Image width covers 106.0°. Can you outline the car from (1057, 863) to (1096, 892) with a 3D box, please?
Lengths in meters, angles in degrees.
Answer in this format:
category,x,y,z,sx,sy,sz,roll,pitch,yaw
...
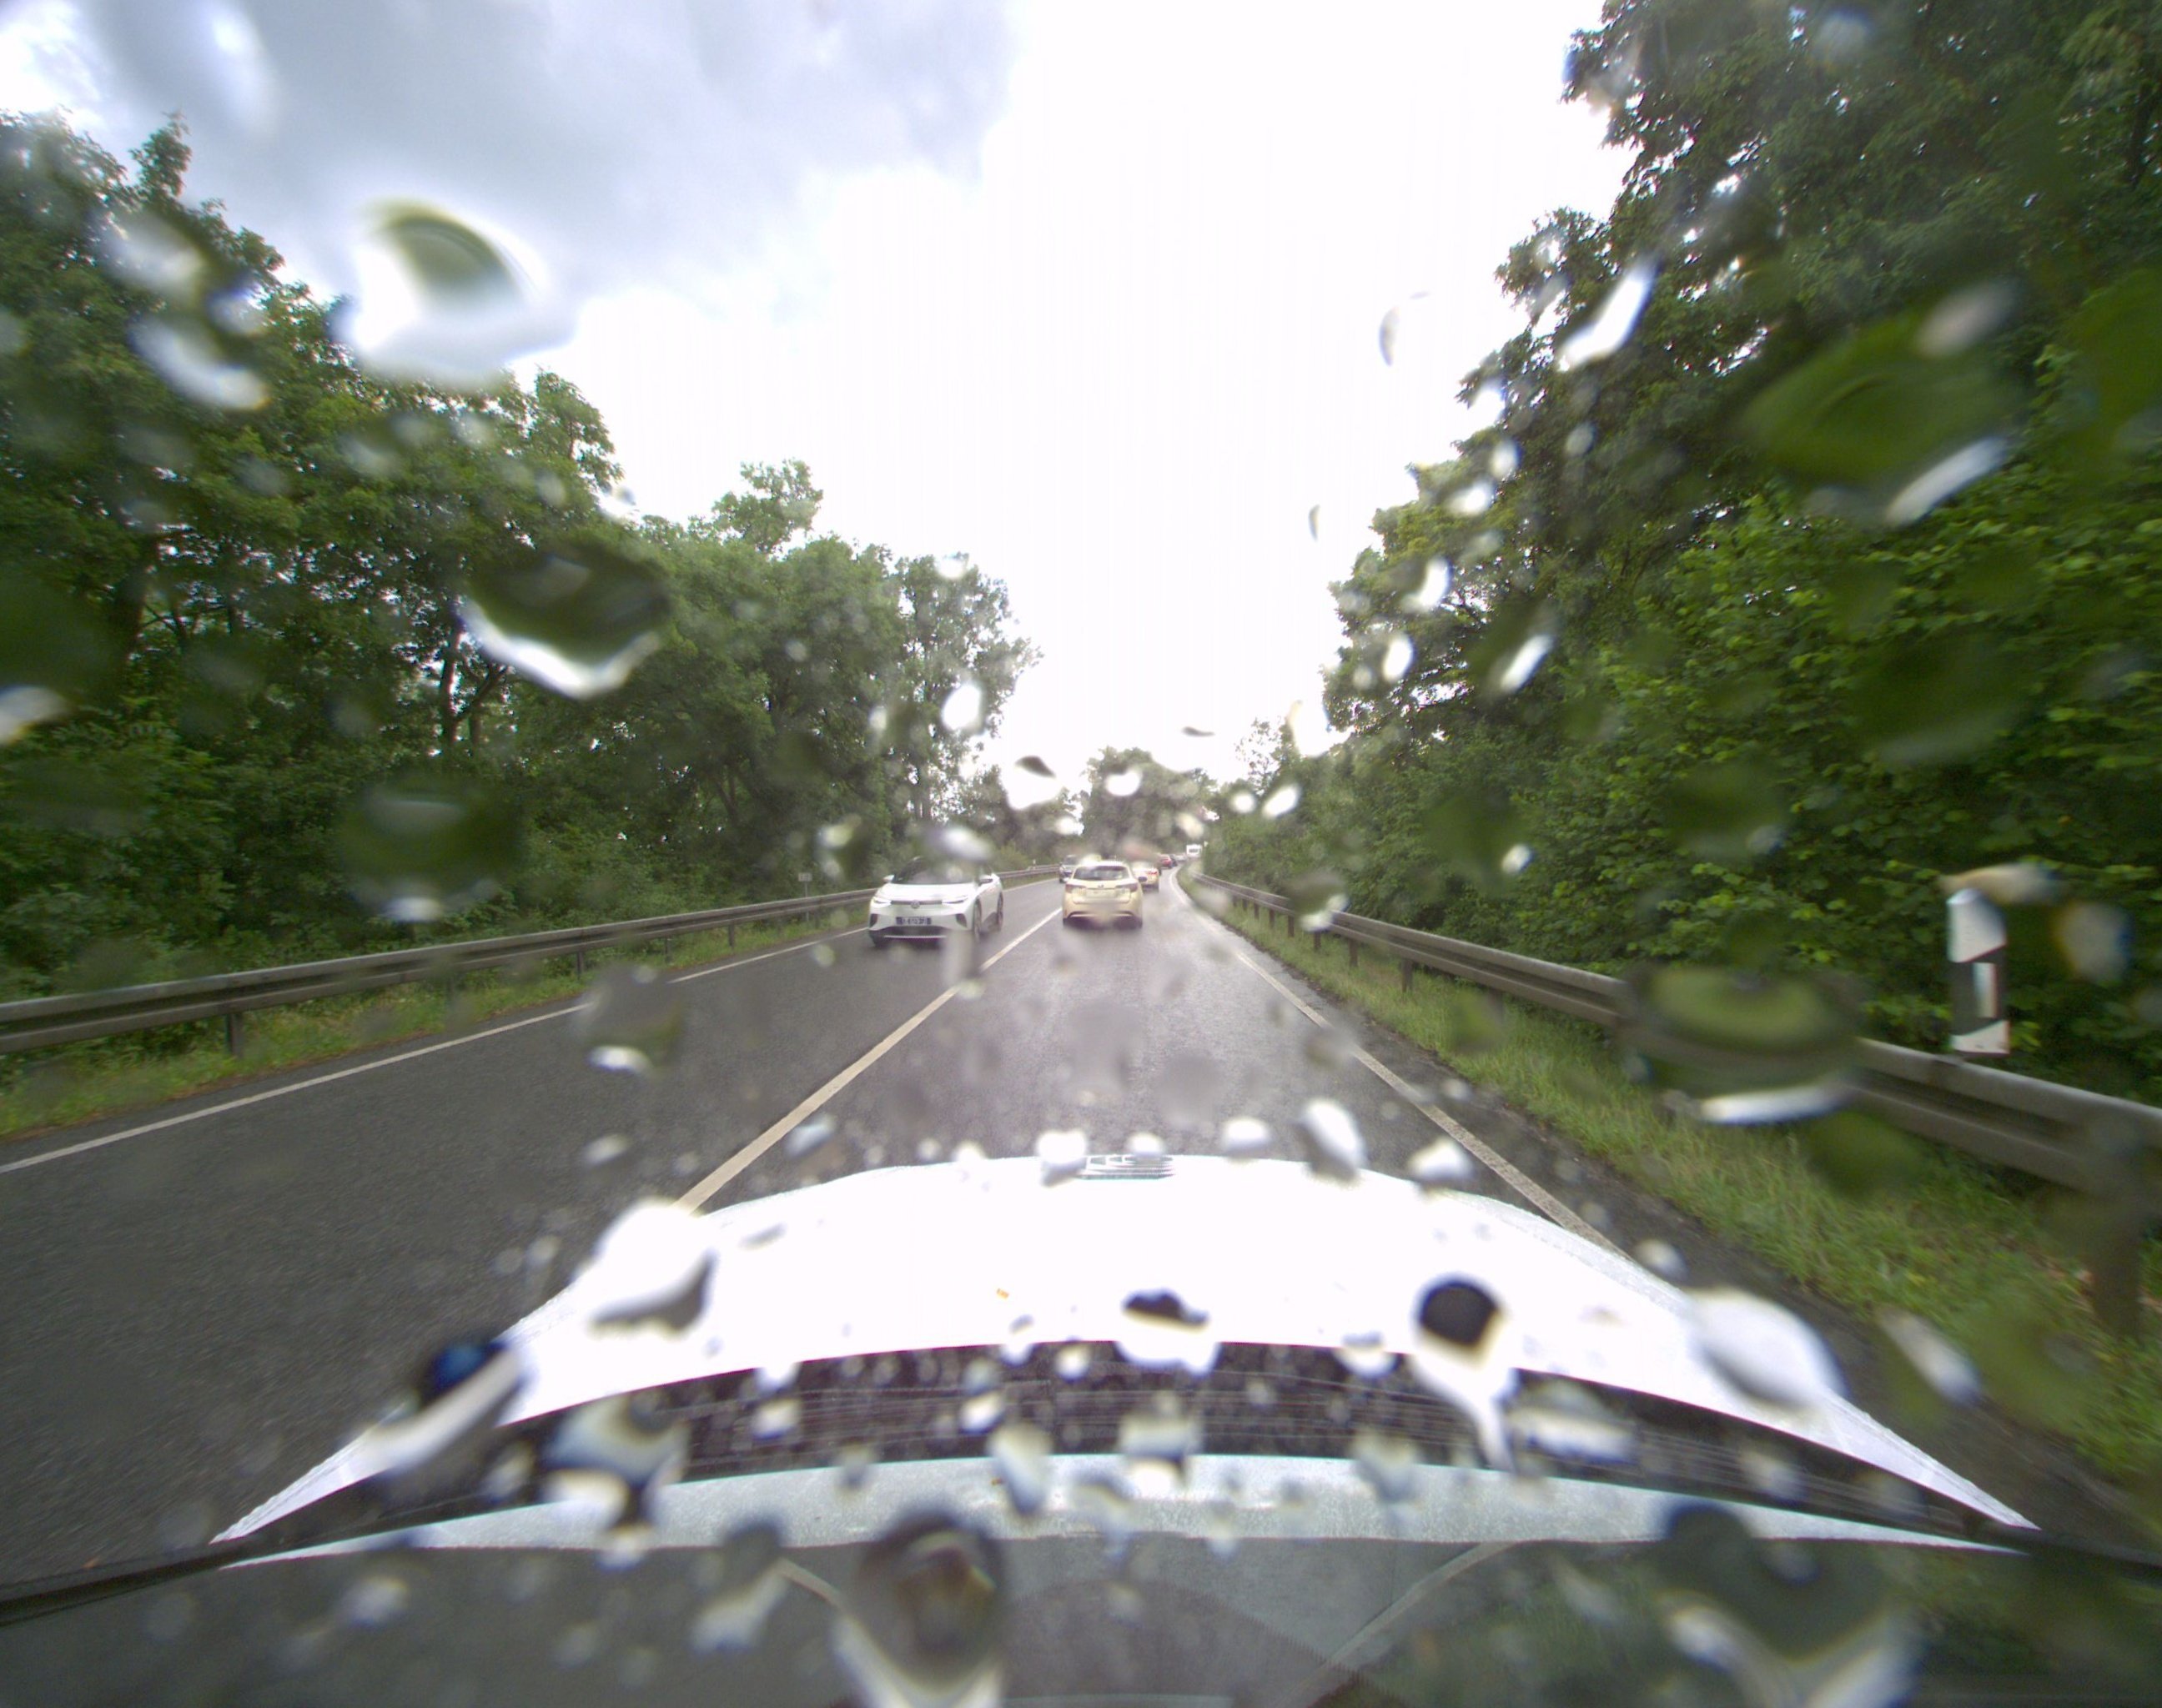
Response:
category,x,y,z,sx,sy,sz,roll,pitch,yaw
car,-0.216,1.387,48.502,1.683,1.574,4.384,-1,0,7

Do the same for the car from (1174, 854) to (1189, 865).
category,x,y,z,sx,sy,sz,roll,pitch,yaw
car,14.298,0.791,115.660,1.758,1.547,3.824,-1,-1,10

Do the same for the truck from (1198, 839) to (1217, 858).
category,x,y,z,sx,sy,sz,roll,pitch,yaw
truck,26.535,-1.144,171.064,3.084,3.681,7.027,-1,-1,15

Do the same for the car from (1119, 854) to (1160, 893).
category,x,y,z,sx,sy,sz,roll,pitch,yaw
car,2.618,0.826,35.609,1.659,1.580,3.898,-1,-1,6

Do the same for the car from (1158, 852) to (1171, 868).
category,x,y,z,sx,sy,sz,roll,pitch,yaw
car,8.509,0.598,82.785,1.161,1.547,2.609,-1,-1,7

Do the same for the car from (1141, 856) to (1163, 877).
category,x,y,z,sx,sy,sz,roll,pitch,yaw
car,5.496,1.015,63.422,1.604,1.547,3.818,-1,-2,4

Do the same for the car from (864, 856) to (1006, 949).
category,x,y,z,sx,sy,sz,roll,pitch,yaw
car,-2.657,0.817,15.834,1.799,1.532,4.209,-1,0,3

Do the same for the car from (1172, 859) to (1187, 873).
category,x,y,z,sx,sy,sz,roll,pitch,yaw
car,11.683,1.396,96.344,1.607,1.613,3.629,-1,-1,8

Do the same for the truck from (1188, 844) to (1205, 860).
category,x,y,z,sx,sy,sz,roll,pitch,yaw
truck,20.241,-0.274,142.827,2.537,2.713,7.546,-1,-1,5

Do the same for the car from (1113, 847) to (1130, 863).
category,x,y,z,sx,sy,sz,roll,pitch,yaw
car,5.202,0.131,103.692,1.984,2.014,4.005,-1,-1,4

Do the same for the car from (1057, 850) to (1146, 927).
category,x,y,z,sx,sy,sz,roll,pitch,yaw
car,0.563,0.762,19.027,1.826,1.580,4.160,-1,-1,4

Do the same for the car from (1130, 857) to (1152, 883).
category,x,y,z,sx,sy,sz,roll,pitch,yaw
car,3.653,0.963,49.963,1.295,1.547,3.262,-1,-1,3
